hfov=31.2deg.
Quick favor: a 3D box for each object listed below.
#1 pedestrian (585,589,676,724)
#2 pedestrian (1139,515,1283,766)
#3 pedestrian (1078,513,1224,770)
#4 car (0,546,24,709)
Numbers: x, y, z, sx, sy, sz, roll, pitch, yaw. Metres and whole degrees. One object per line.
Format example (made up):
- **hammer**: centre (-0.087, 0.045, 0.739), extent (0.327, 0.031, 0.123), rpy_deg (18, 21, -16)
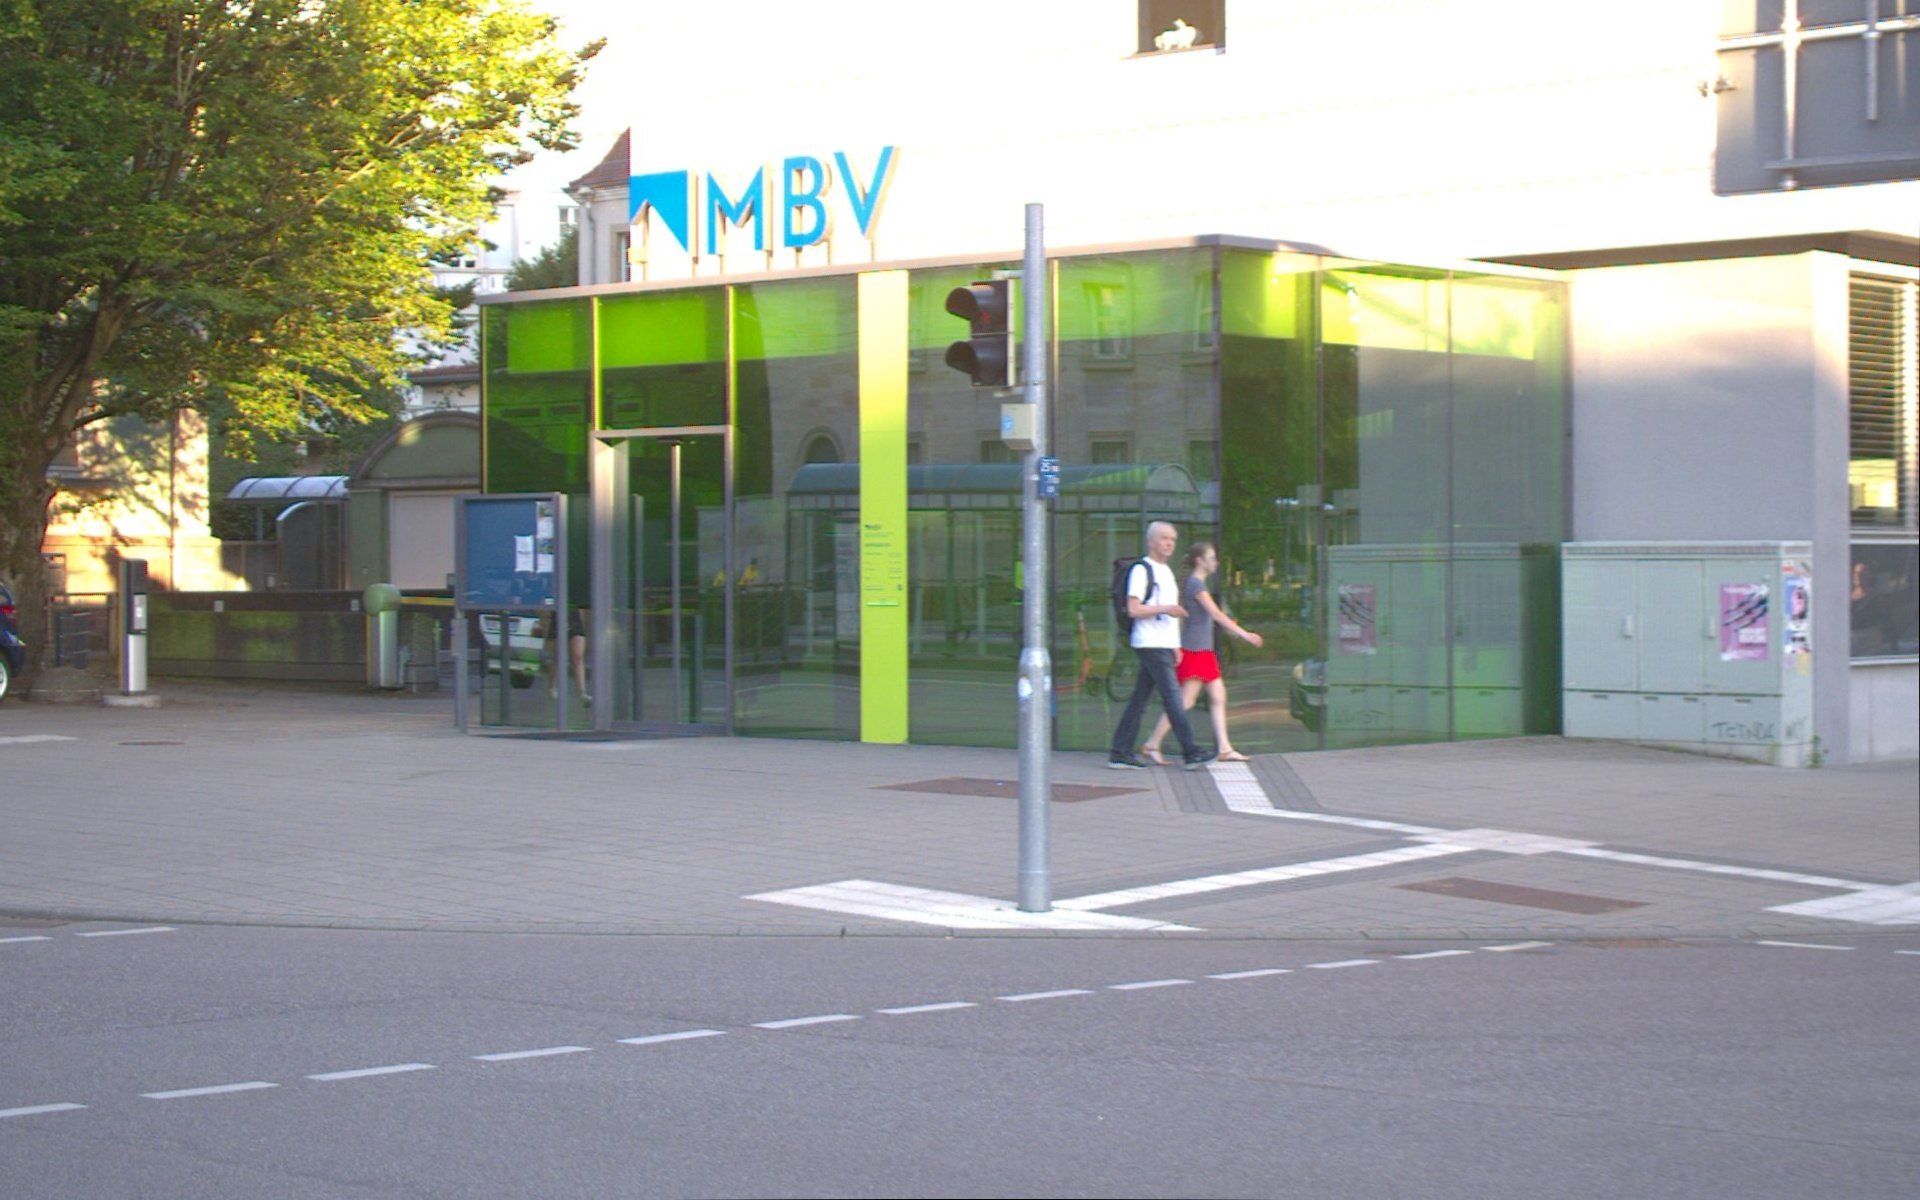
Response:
- **pedestrian**: centre (-2.978, 0.503, 31.098), extent (0.615, 1.204, 0.542), rpy_deg (1, 0, 42)
- **pedestrian**: centre (1.800, 0.281, 24.625), extent (0.746, 1.762, 0.707), rpy_deg (0, 0, 42)
- **pedestrian**: centre (1.336, 0.280, 24.074), extent (0.735, 1.762, 0.707), rpy_deg (0, 0, 42)
- **car**: centre (-11.070, 0.253, 32.420), extent (1.802, 1.568, 3.987), rpy_deg (2, 1, 41)
